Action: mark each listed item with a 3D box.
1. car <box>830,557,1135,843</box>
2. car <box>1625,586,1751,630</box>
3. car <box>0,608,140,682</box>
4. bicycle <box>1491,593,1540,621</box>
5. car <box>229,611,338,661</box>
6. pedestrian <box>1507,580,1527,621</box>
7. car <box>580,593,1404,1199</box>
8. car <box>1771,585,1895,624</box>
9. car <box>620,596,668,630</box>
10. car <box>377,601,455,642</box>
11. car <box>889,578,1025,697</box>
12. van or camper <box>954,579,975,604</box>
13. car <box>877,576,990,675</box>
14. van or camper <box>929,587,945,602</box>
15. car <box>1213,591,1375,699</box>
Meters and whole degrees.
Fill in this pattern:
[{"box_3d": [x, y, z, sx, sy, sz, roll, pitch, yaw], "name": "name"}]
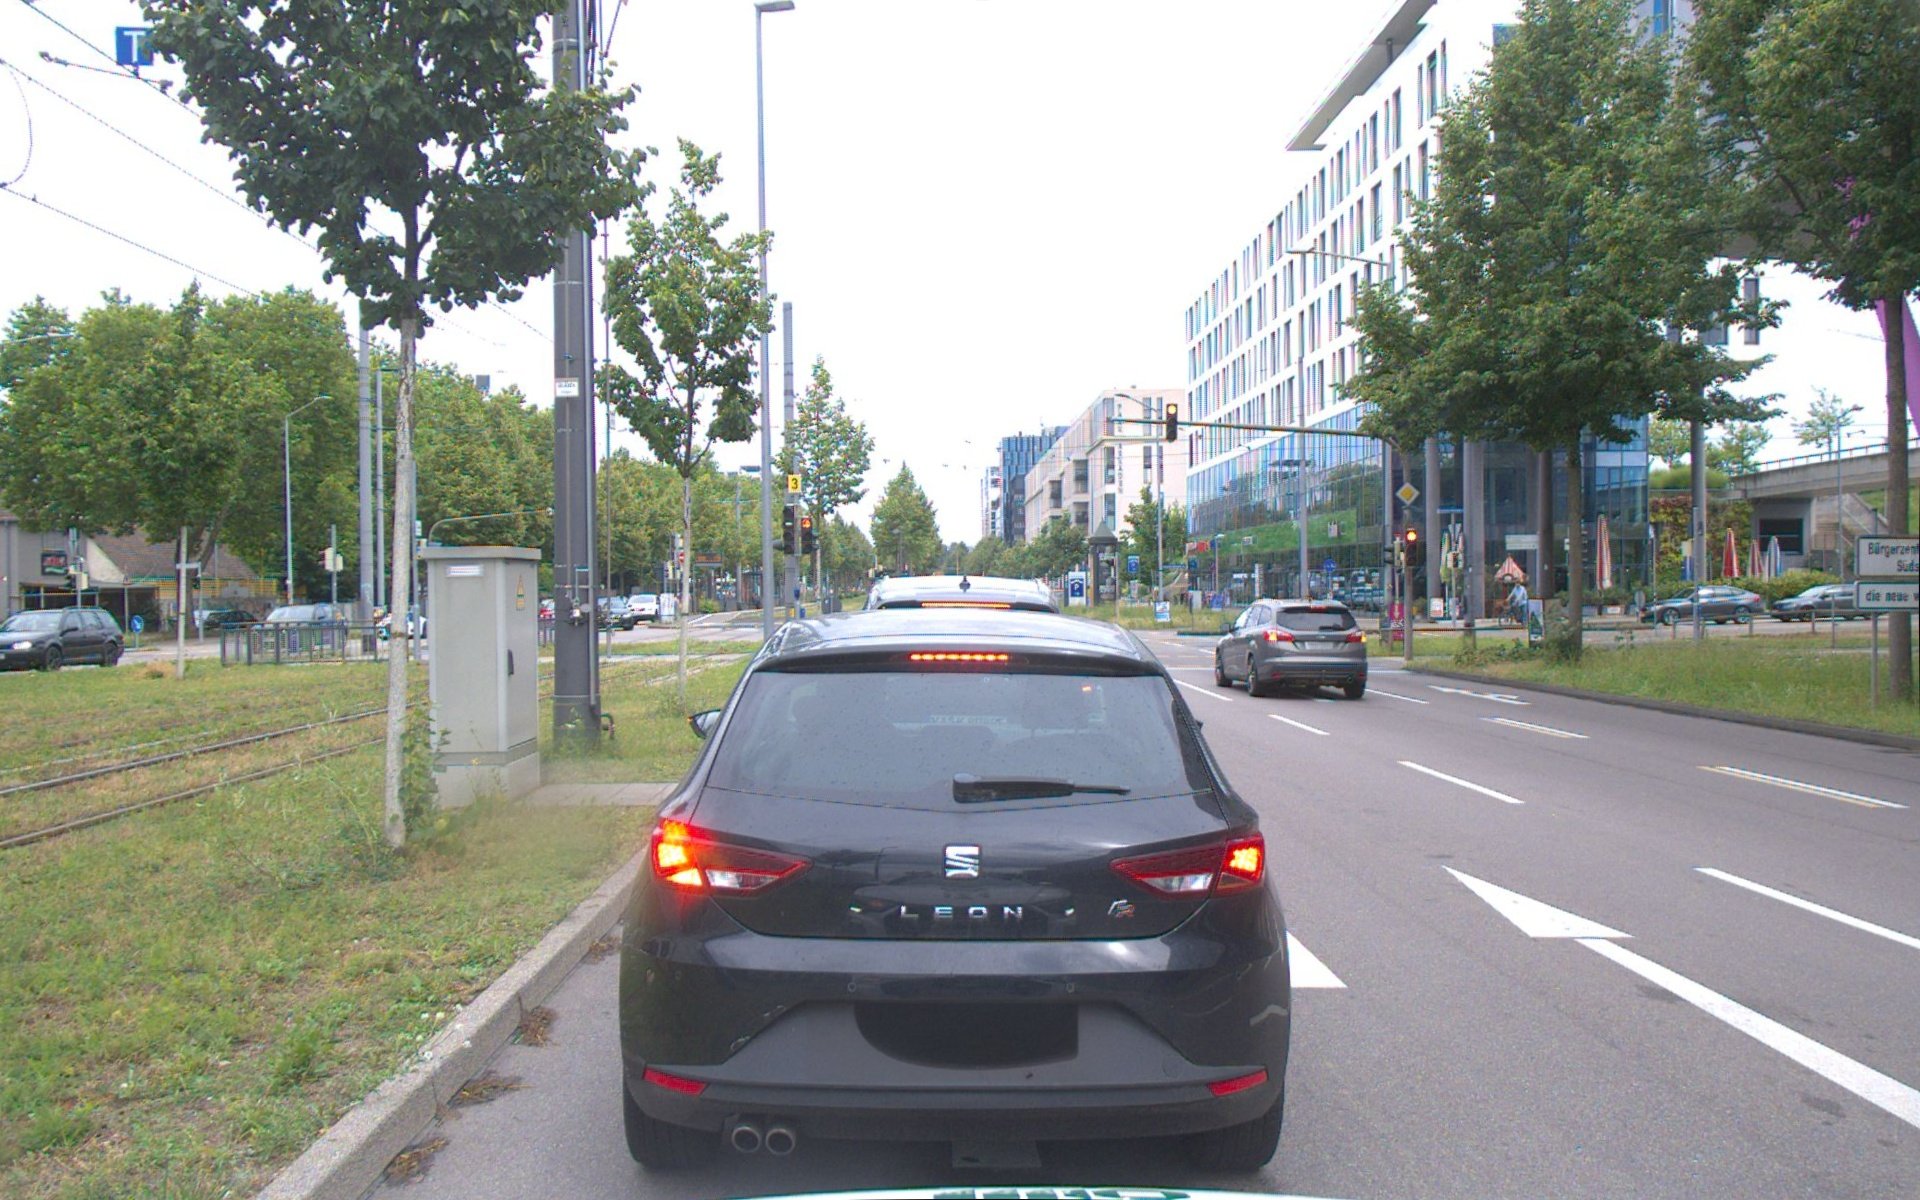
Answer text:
[{"box_3d": [0.103, 0.569, 11.681, 1.766, 1.653, 3.999, -1, 0, -1], "name": "car"}, {"box_3d": [28.516, 0.314, 64.874, 4.163, 1.643, 1.758, -1, 0, 1], "name": "car"}, {"box_3d": [-20.269, 0.978, 36.931, 1.630, 1.451, 4.744, -2, 1, -2], "name": "car"}, {"box_3d": [22.360, 0.275, 66.611, 1.755, 1.104, 0.618, -1, 0, 1], "name": "bicycle"}, {"box_3d": [-20.683, 1.073, 50.760, 1.765, 1.401, 4.056, -1, 0, -2], "name": "car"}, {"box_3d": [22.434, 0.009, 66.609, 0.602, 1.632, 0.619, -1, 0, 1], "name": "pedestrian"}, {"box_3d": [0.018, 0.718, 5.454, 1.708, 1.442, 3.999, 1, 0, -2], "name": "car"}, {"box_3d": [34.423, 0.157, 65.284, 3.996, 1.480, 1.758, -1, 0, 1], "name": "car"}, {"box_3d": [-17.323, 0.692, 90.763, 1.953, 1.780, 4.199, -1, 0, -2], "name": "car"}, {"box_3d": [-23.127, 0.889, 70.501, 1.774, 1.616, 5.076, -1, 0, -1], "name": "car"}, {"box_3d": [0.030, 0.521, 26.065, 1.952, 1.711, 4.001, 1, 1, 2], "name": "car"}, {"box_3d": [0.442, -0.868, 165.232, 2.066, 2.397, 4.923, 0, 2, 0], "name": "van or camper"}, {"box_3d": [-0.429, 0.430, 31.119, 1.952, 1.711, 4.001, 1, 1, 1], "name": "car"}, {"box_3d": [-2.837, -0.702, 202.760, 1.953, 1.643, 4.789, 0, 2, 0], "name": "van or camper"}, {"box_3d": [5.290, 0.661, 26.688, 1.712, 1.525, 4.268, 0, 1, -1], "name": "car"}]
